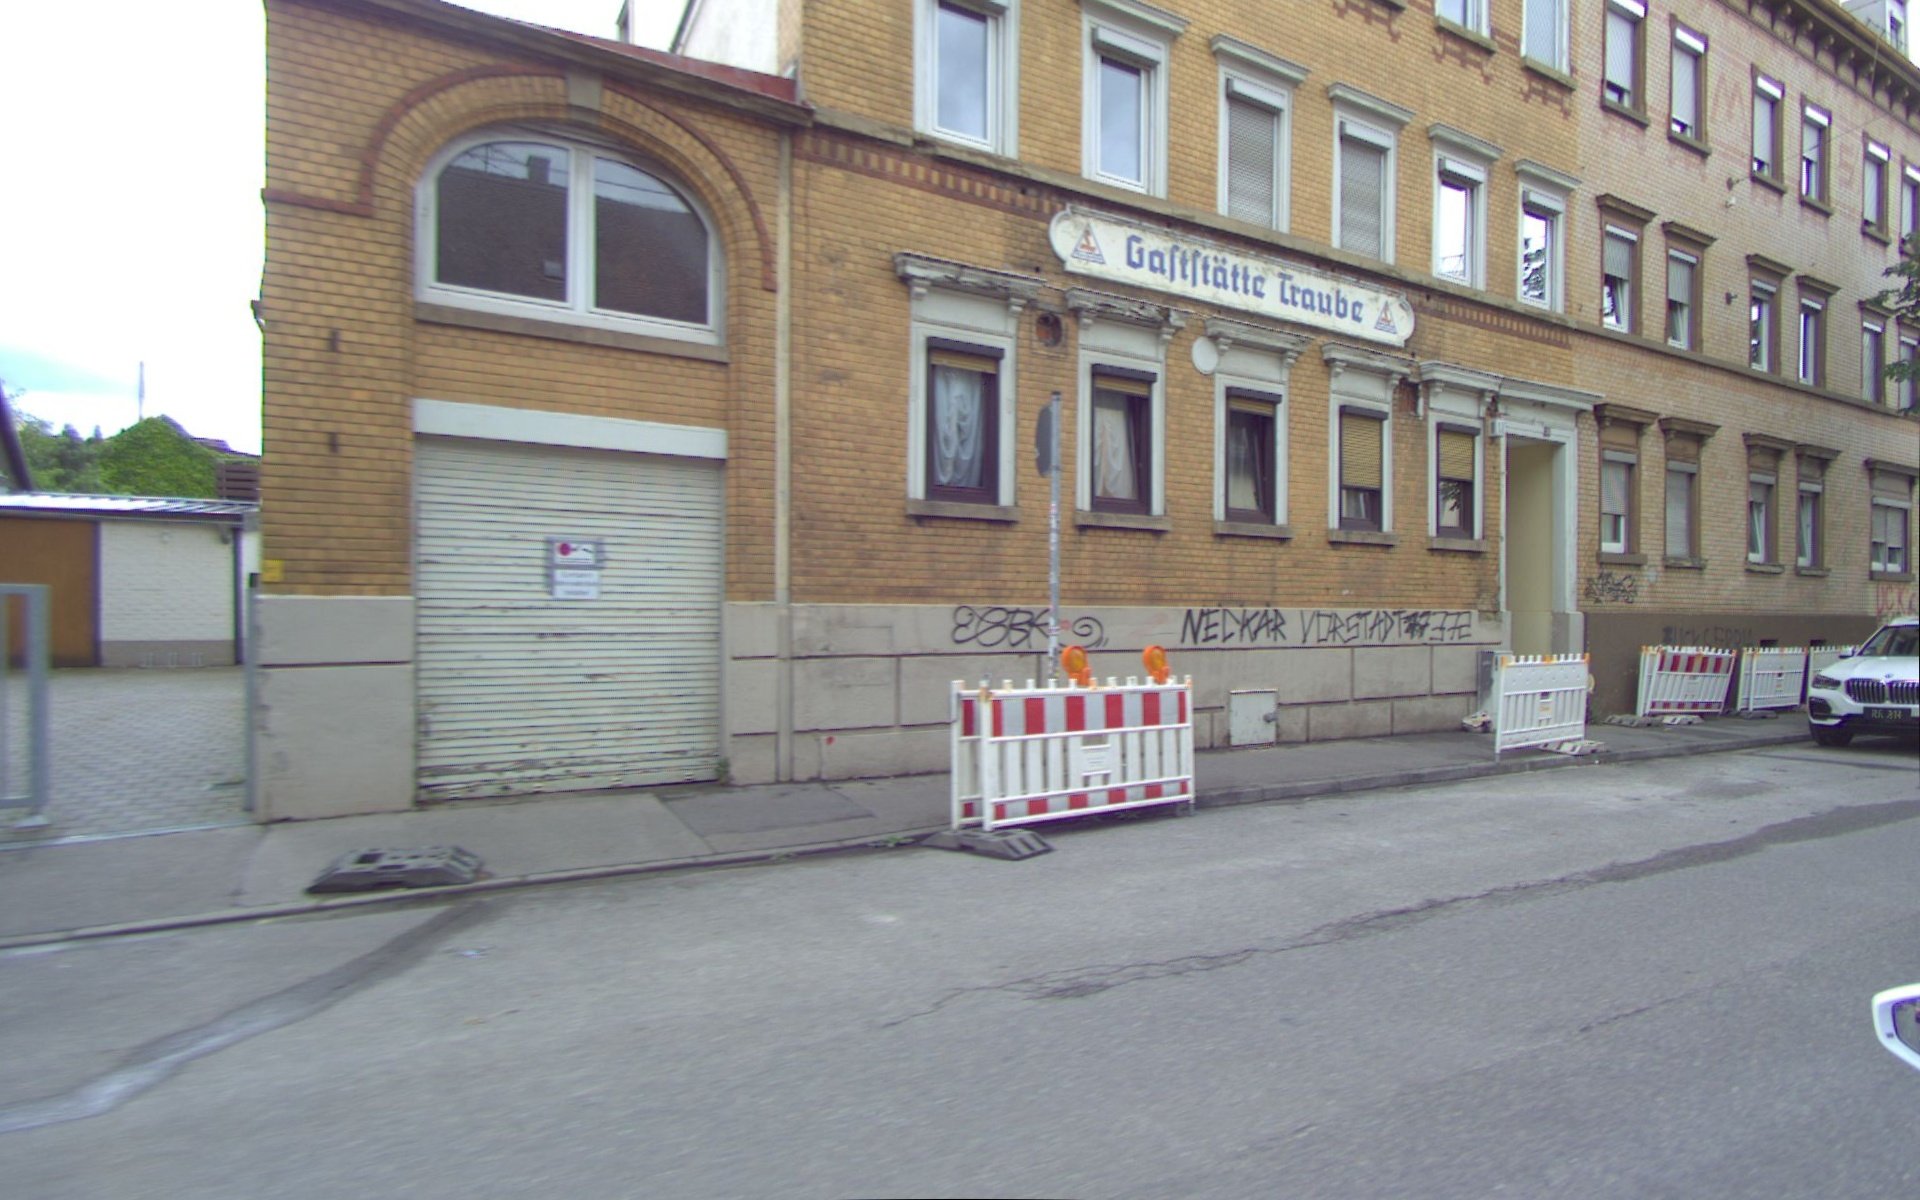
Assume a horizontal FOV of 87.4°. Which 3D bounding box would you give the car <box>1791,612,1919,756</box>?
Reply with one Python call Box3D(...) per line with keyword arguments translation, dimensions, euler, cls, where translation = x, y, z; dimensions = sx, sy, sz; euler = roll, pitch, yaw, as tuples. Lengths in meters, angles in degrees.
Box3D(translation=(13.462, 1.079, 13.607), dimensions=(4.685, 1.735, 1.882), euler=(1, -3, -30), cls="car")
